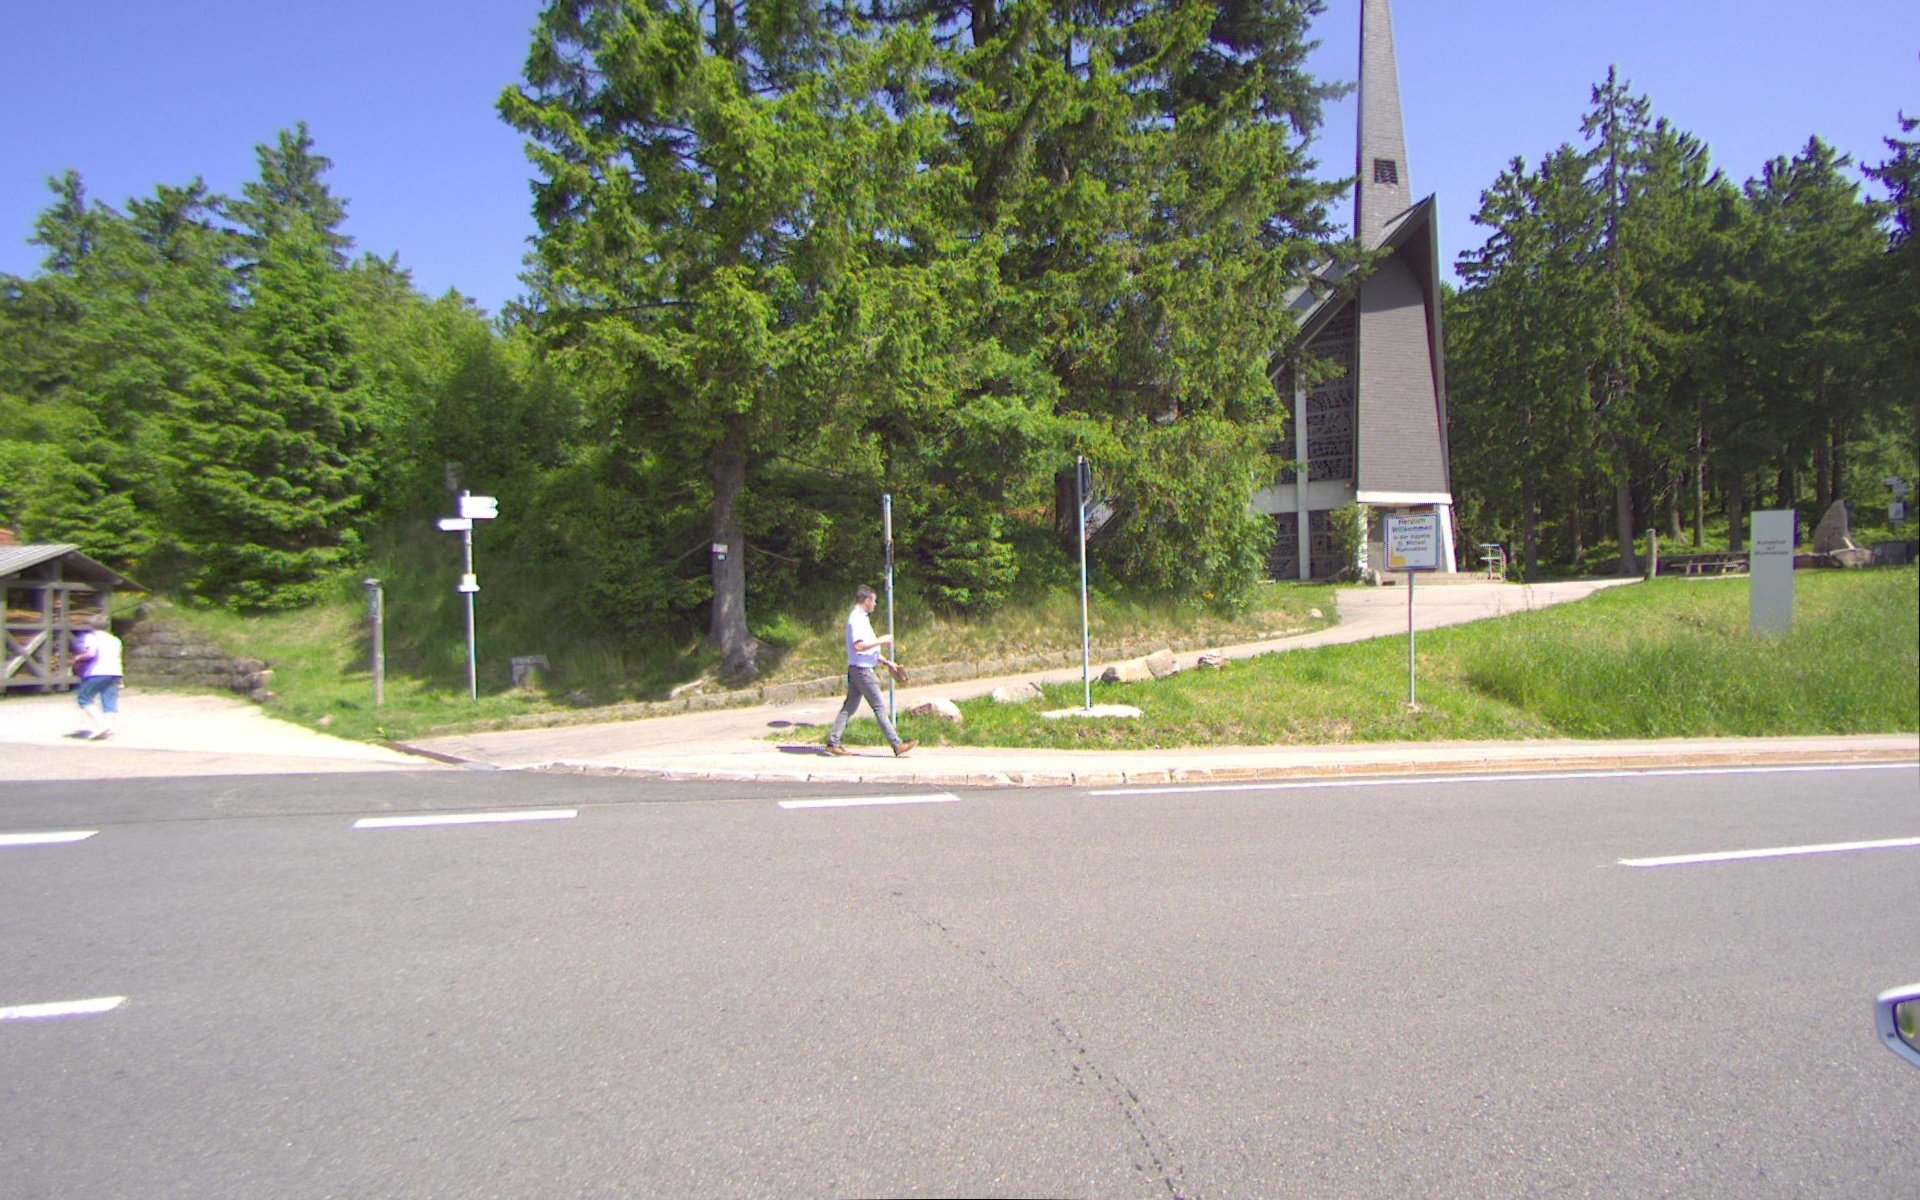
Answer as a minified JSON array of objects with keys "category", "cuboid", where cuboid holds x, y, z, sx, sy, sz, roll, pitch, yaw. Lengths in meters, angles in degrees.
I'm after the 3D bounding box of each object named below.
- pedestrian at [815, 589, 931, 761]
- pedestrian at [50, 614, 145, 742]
[{"category":"pedestrian","cuboid":[-0.896,0.768,10.538,1.140,1.721,0.978,1,-2,-4]},{"category":"pedestrian","cuboid":[-11.945,1.058,13.929,0.669,1.703,0.722,0,-2,18]}]
